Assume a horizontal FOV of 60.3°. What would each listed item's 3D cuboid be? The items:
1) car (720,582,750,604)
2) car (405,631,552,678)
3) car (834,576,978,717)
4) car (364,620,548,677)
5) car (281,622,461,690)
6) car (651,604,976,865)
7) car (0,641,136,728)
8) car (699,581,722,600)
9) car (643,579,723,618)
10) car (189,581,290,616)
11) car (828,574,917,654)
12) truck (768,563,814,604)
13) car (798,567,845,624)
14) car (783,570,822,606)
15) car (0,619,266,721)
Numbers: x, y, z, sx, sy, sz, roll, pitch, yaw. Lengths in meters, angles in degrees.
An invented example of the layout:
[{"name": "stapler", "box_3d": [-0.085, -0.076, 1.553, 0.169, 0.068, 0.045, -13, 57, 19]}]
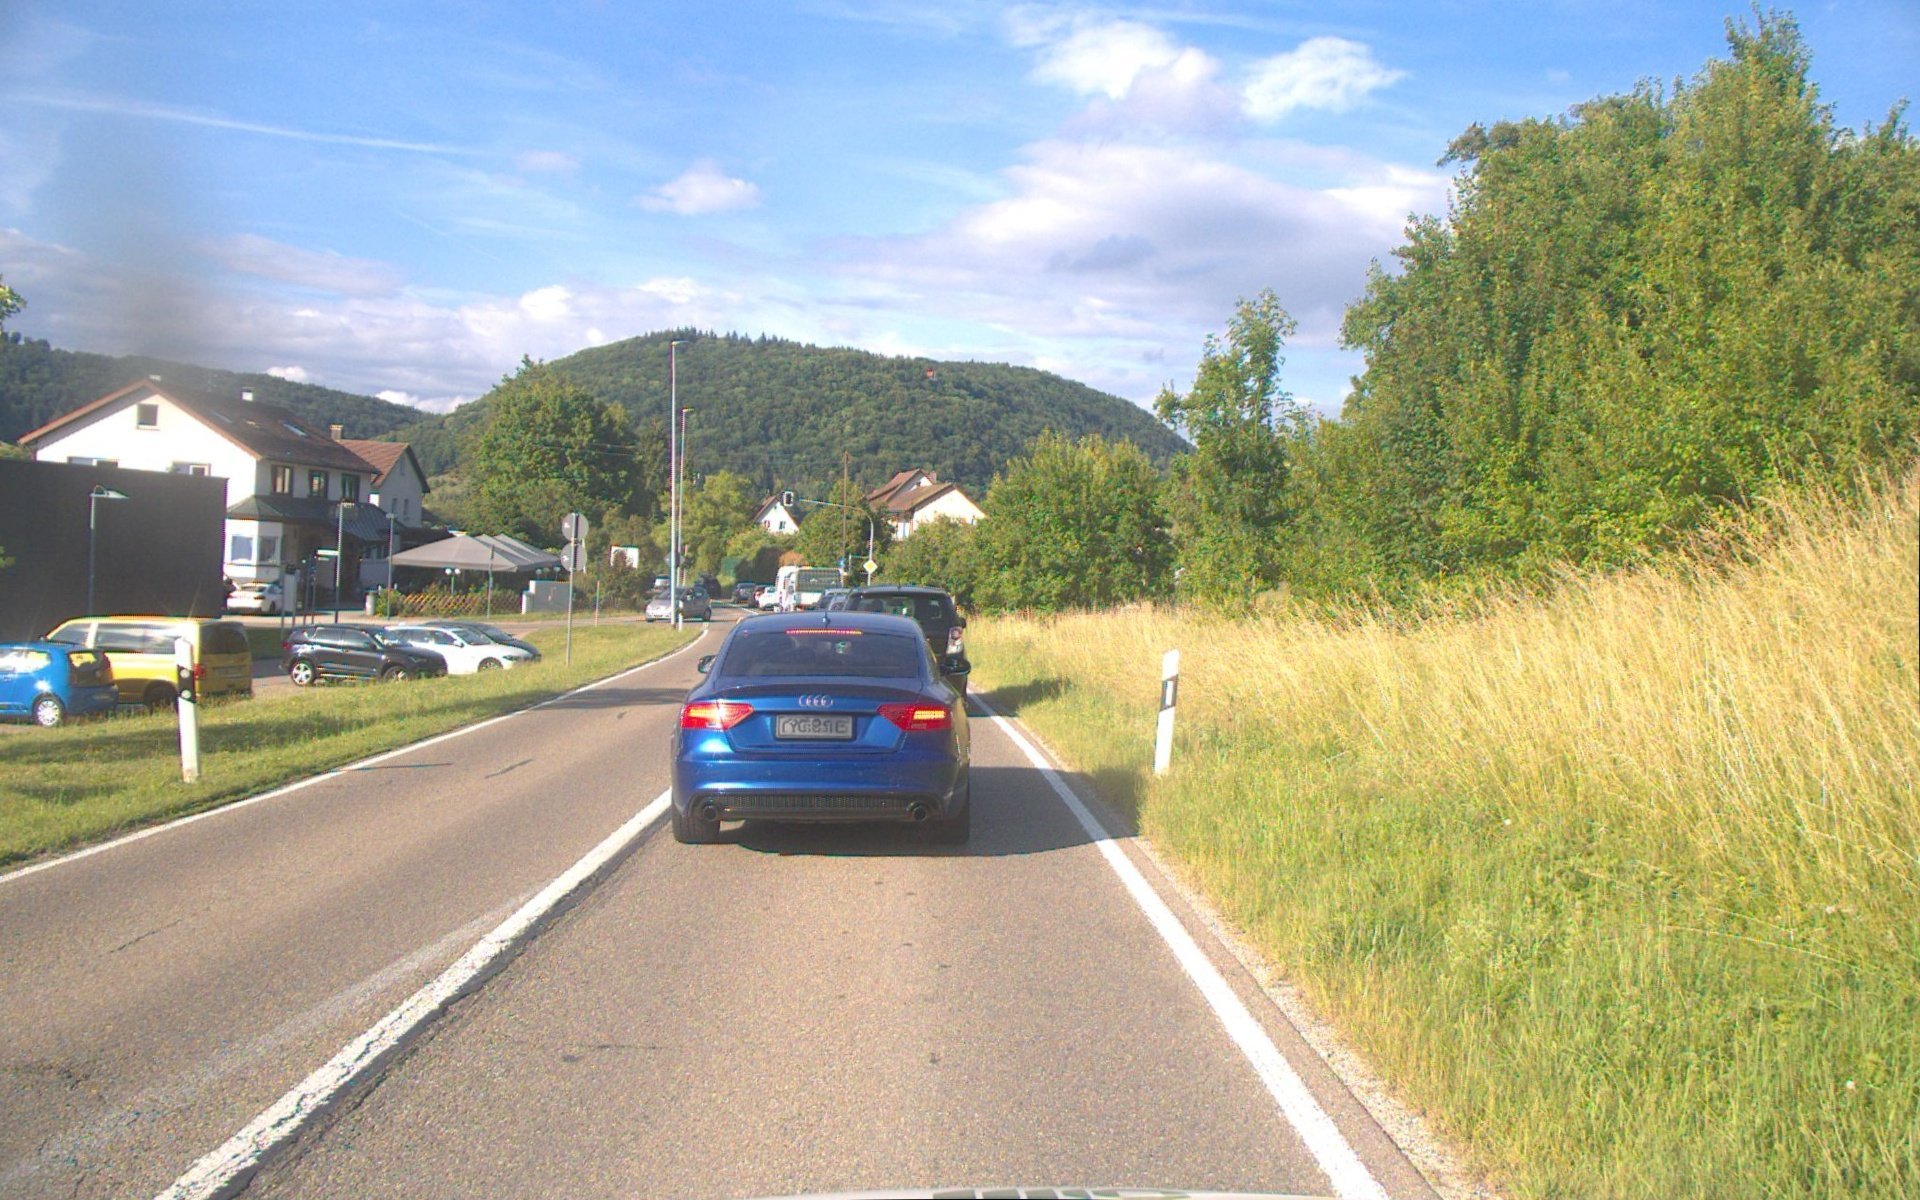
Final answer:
[{"name": "car", "box_3d": [-16.583, -0.505, 121.606, 1.670, 1.516, 3.511, 1, -1, -16]}, {"name": "car", "box_3d": [-14.622, 1.643, 50.371, 3.903, 1.333, 1.761, 1, -1, 4]}, {"name": "car", "box_3d": [-0.632, 0.575, 21.933, 1.710, 1.668, 4.000, 1, -1, 1]}, {"name": "car", "box_3d": [-14.611, 1.394, 48.048, 4.711, 1.520, 1.882, 1, -1, 8]}, {"name": "car", "box_3d": [-15.487, 1.450, 43.581, 3.939, 1.666, 2.001, 1, -1, 8]}, {"name": "car", "box_3d": [-0.775, 0.744, 10.988, 1.758, 1.412, 4.000, 0, 0, 1]}, {"name": "car", "box_3d": [-17.591, 1.554, 31.060, 3.419, 1.498, 1.634, 1, -1, 6]}, {"name": "car", "box_3d": [-21.536, -0.831, 142.756, 1.598, 1.604, 3.666, 1, -1, -13]}, {"name": "car", "box_3d": [-12.550, -0.063, 75.125, 1.704, 1.691, 3.461, 1, -1, 33]}, {"name": "car", "box_3d": [-31.442, -0.038, 72.290, 1.728, 1.467, 4.000, 1, -1, 20]}, {"name": "car", "box_3d": [-1.918, 0.316, 37.394, 1.768, 1.668, 4.462, 1, 0, 0]}, {"name": "truck", "box_3d": [-8.765, -0.802, 85.382, 1.668, 1.988, 5.903, 1, 0, -13]}, {"name": "car", "box_3d": [-5.710, -0.156, 67.930, 1.713, 2.234, 3.993, 1, -1, -8]}, {"name": "car", "box_3d": [-7.665, -0.559, 80.106, 1.713, 1.668, 3.993, 1, -1, -8]}, {"name": "car", "box_3d": [-16.768, 1.370, 33.624, 4.512, 1.900, 2.002, 1, -1, 12]}]
